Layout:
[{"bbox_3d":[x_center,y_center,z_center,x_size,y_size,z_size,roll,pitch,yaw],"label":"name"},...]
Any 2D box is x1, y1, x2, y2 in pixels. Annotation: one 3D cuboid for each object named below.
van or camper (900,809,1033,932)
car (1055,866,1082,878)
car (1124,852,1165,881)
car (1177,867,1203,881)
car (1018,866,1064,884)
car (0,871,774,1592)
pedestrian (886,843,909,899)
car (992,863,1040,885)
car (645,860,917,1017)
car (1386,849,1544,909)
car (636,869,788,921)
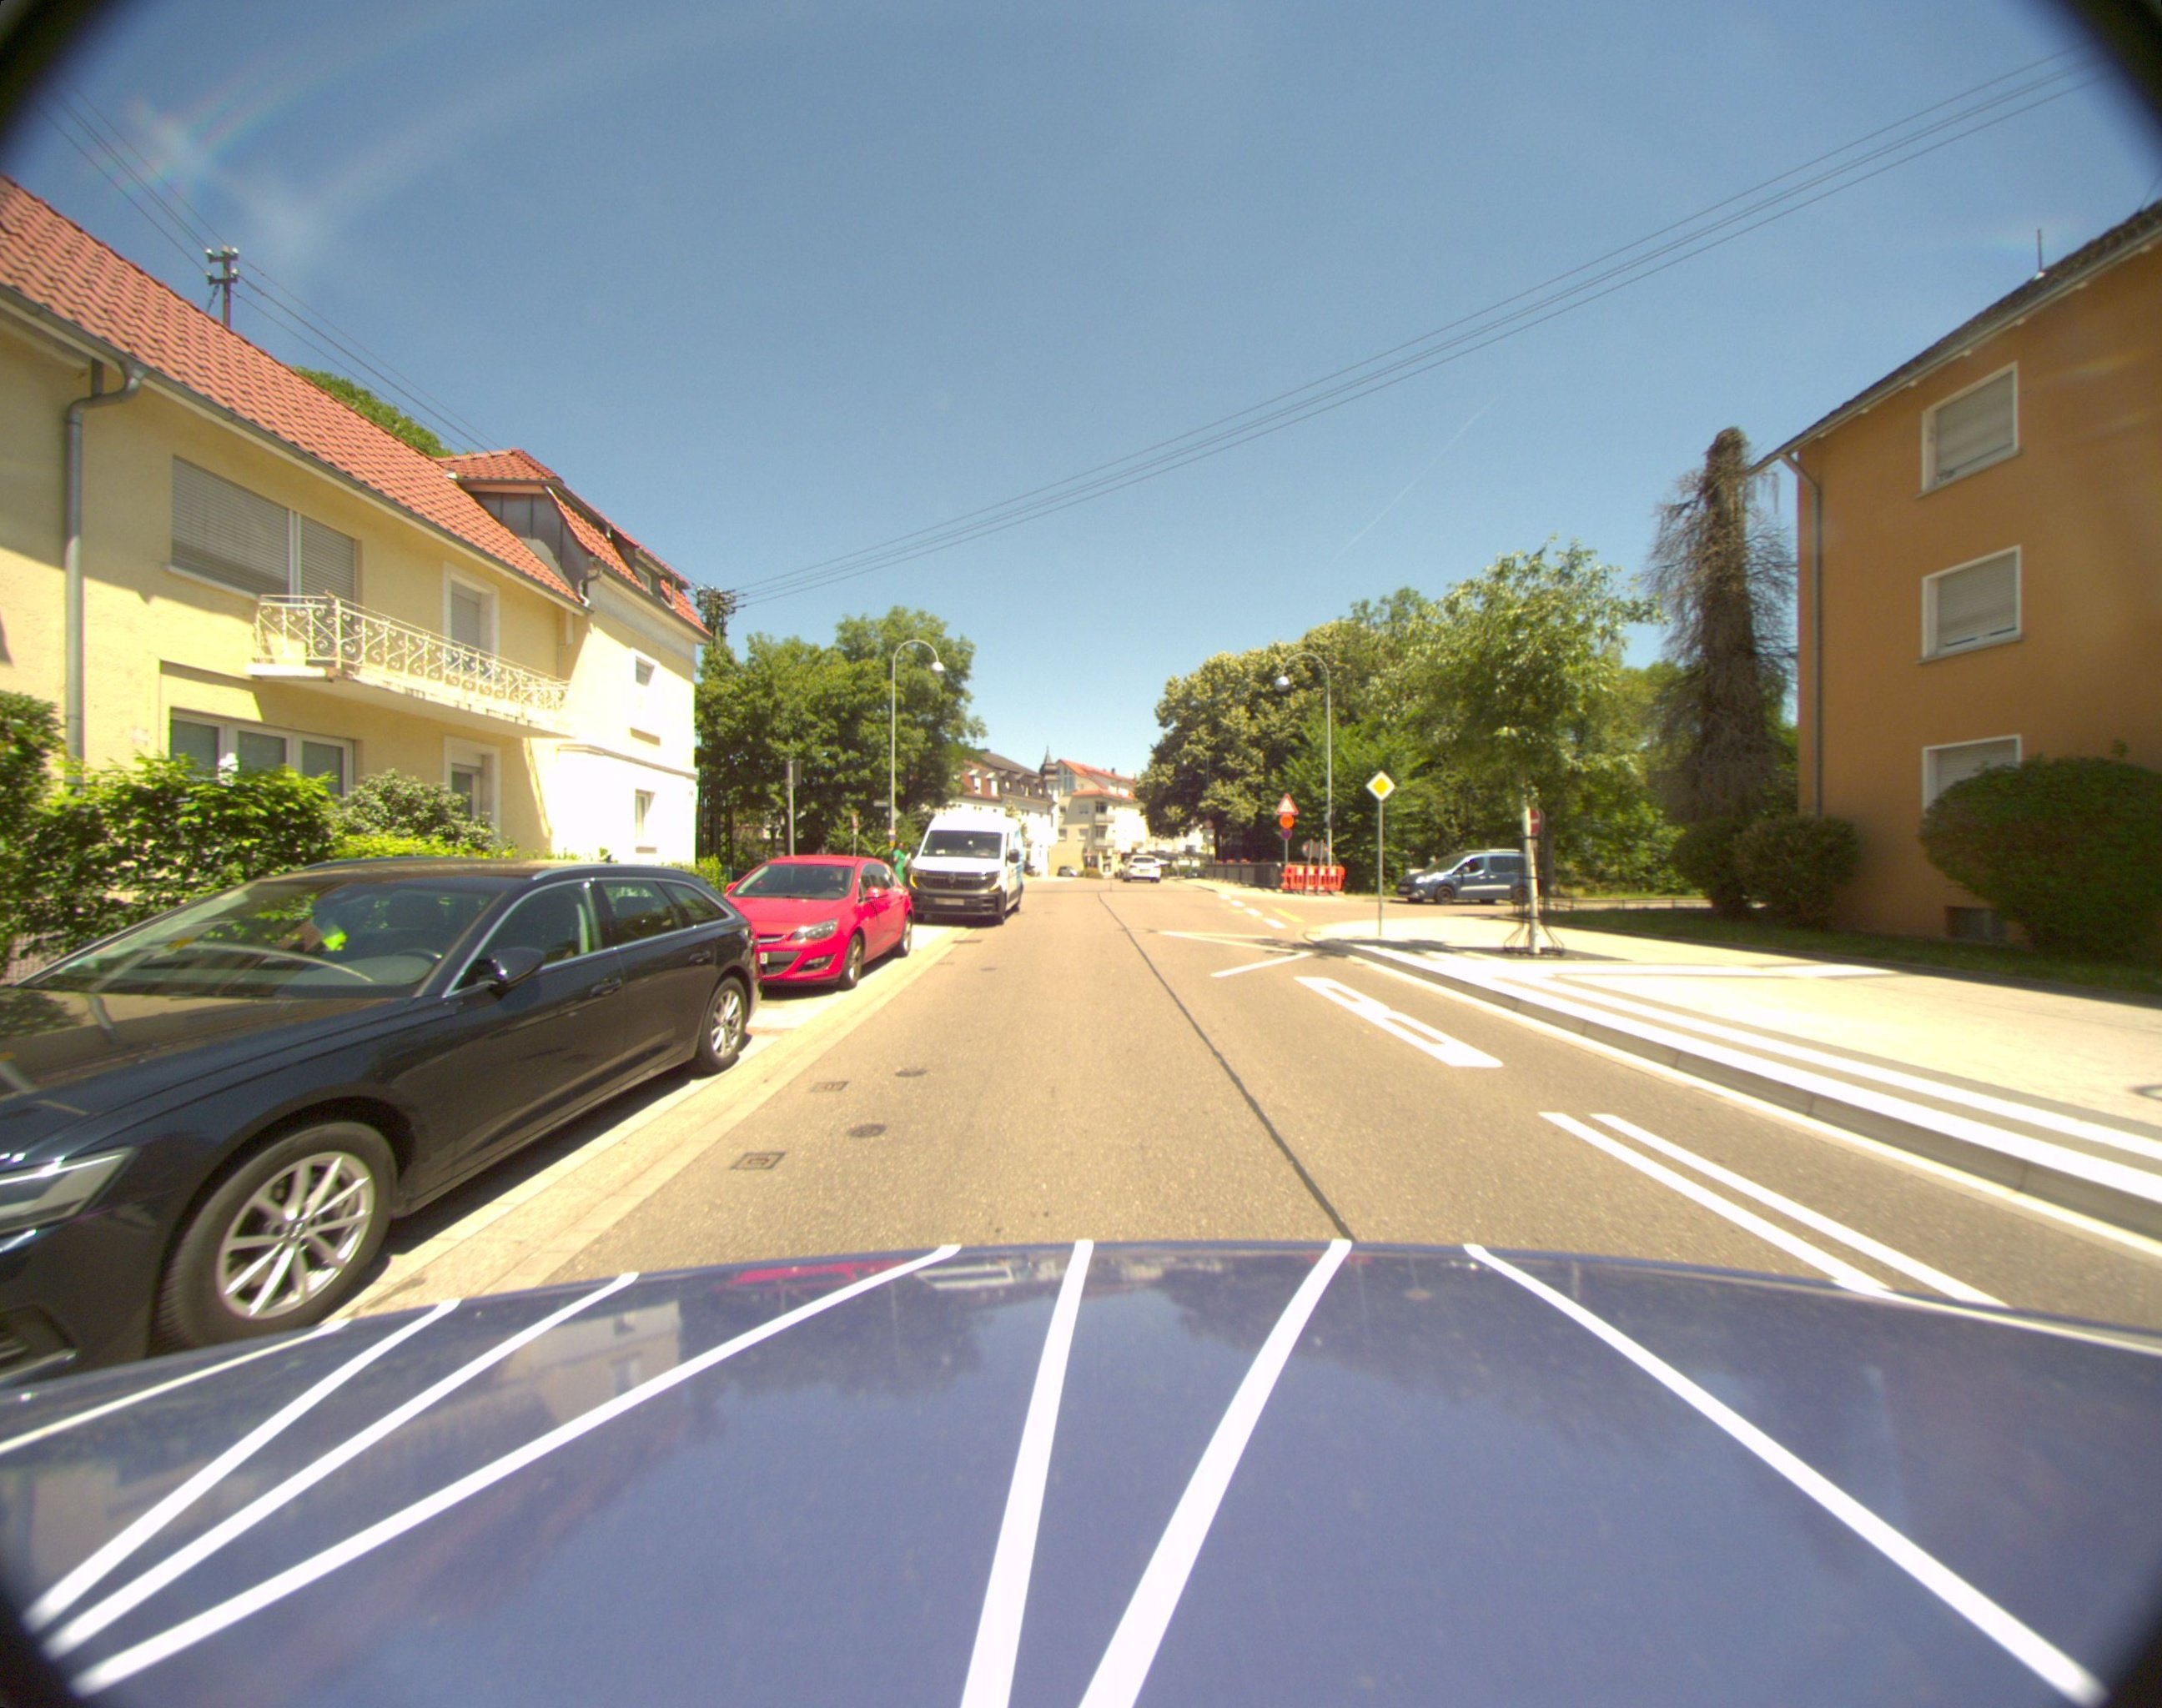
[{"bbox_3d":[-2.542,0.298,18.567,2.113,2.453,6.176,2,1,1],"label":"van or camper"},{"bbox_3d":[-1.546,2.263,96.437,3.038,1.444,1.570,-2,0,22],"label":"car"},{"bbox_3d":[3.416,0.675,41.452,1.998,1.498,4.289,0,0,2],"label":"car"},{"bbox_3d":[14.902,2.727,104.024,2.002,1.705,3.995,2,-2,-16],"label":"car"},{"bbox_3d":[-3.918,2.077,74.209,3.990,1.660,2.004,-2,-1,27],"label":"car"},{"bbox_3d":[-3.359,0.916,3.648,1.808,1.466,4.720,3,0,0],"label":"car"},{"bbox_3d":[-5.769,0.530,23.901,0.522,1.696,0.803,4,0,-20],"label":"pedestrian"},{"bbox_3d":[-6.081,1.881,71.320,3.990,2.002,2.004,-2,0,26],"label":"car"},{"bbox_3d":[-3.417,0.854,9.599,1.808,1.521,4.150,1,0,0],"label":"car"},{"bbox_3d":[12.668,0.809,25.165,4.439,1.863,1.817,1,0,-10],"label":"car"},{"bbox_3d":[-12.557,1.395,25.989,4.399,1.458,1.646,-4,0,7],"label":"car"}]
